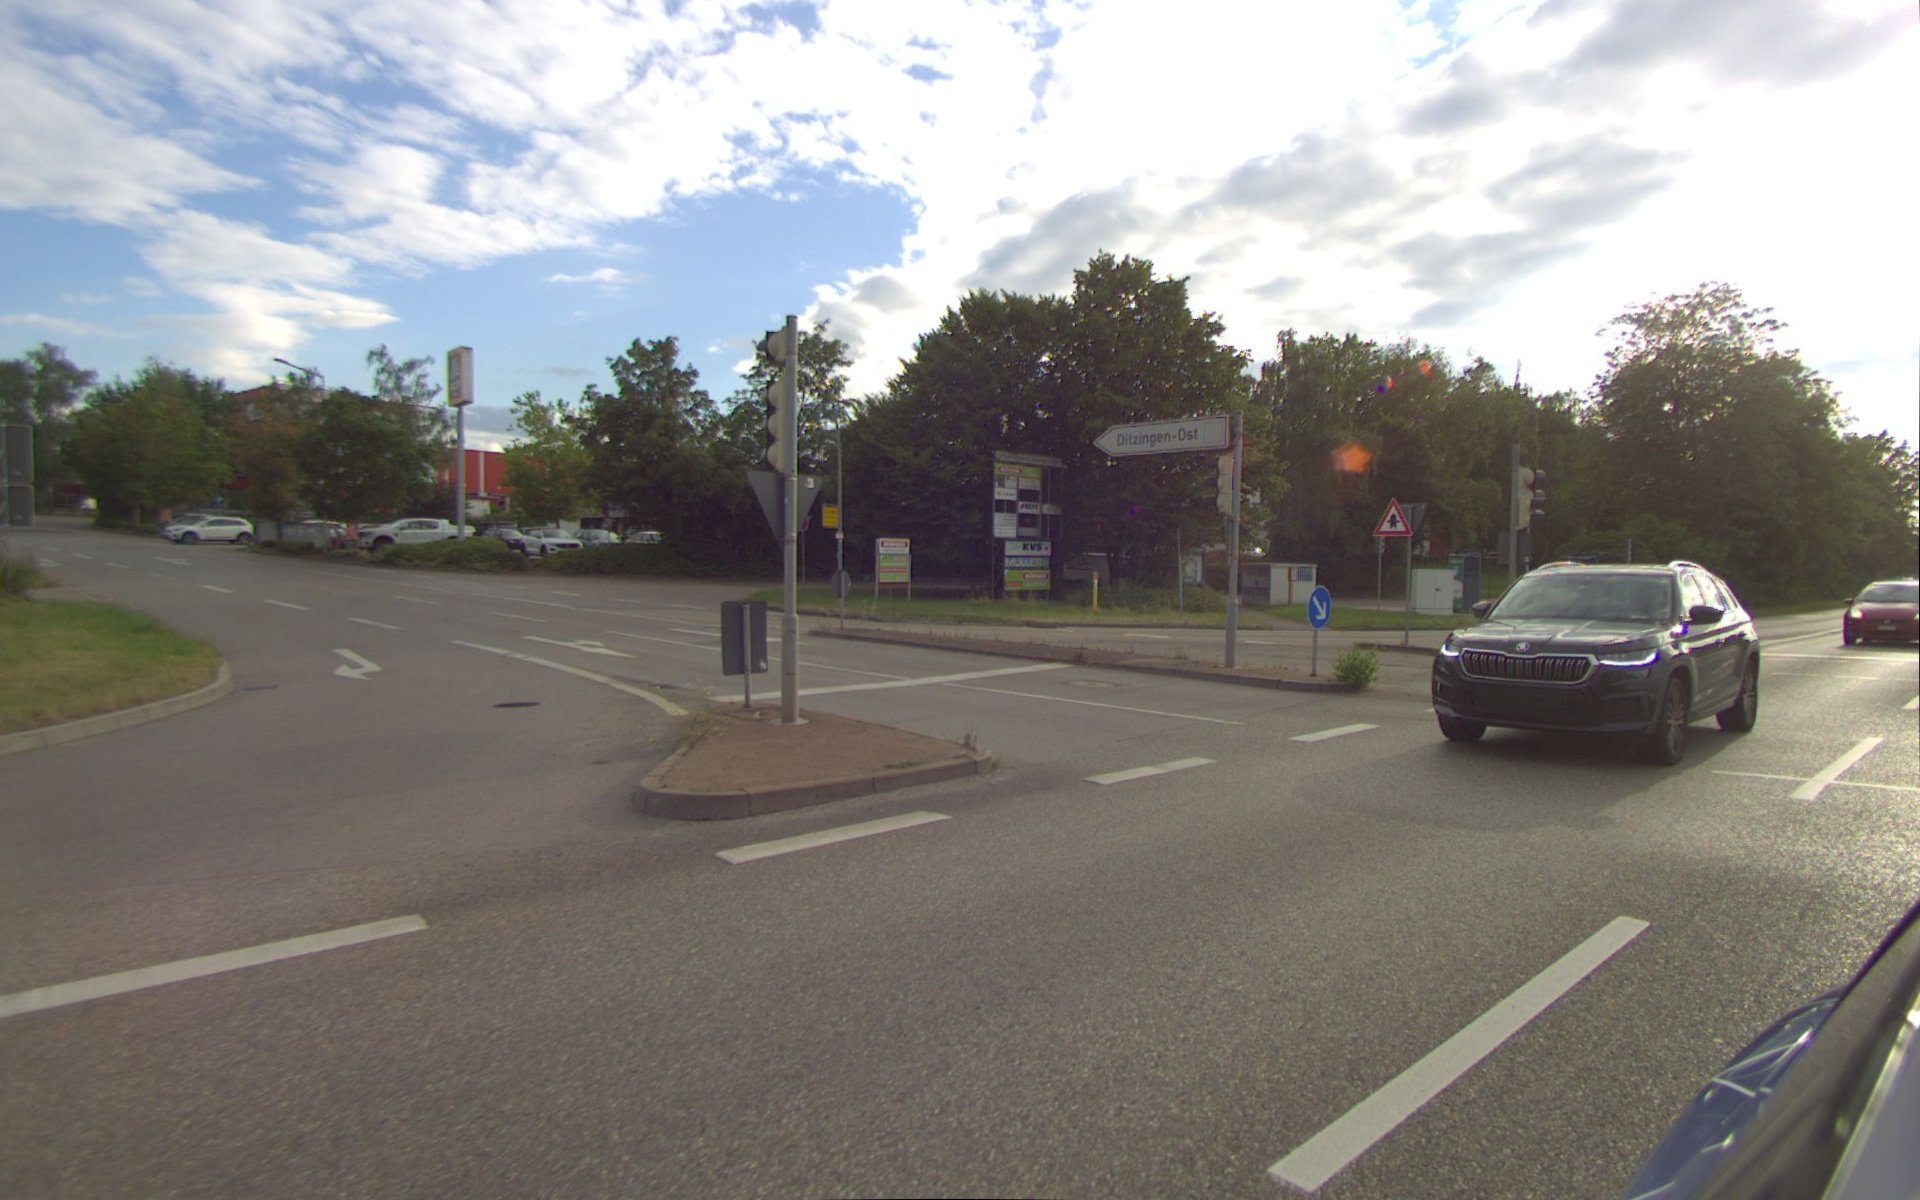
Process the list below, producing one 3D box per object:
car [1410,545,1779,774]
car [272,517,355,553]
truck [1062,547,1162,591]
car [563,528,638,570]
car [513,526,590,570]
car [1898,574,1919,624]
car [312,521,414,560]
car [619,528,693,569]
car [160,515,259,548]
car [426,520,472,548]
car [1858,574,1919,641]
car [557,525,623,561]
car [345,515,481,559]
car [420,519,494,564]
[{"bbox_3d":[6.135,0.392,9.552,4.405,1.670,1.847,-1,1,-42],"label":"car"},{"bbox_3d":[-40.377,-4.023,63.247,1.988,2.039,3.948,0,1,37],"label":"car"},{"bbox_3d":[7.293,-1.477,48.357,4.600,2.022,1.817,0,1,14],"label":"truck"},{"bbox_3d":[-17.799,-2.549,49.978,1.928,1.874,4.298,-1,5,-44],"label":"car"},{"bbox_3d":[-19.523,-2.492,48.290,1.928,1.906,4.298,-1,5,-44],"label":"car"},{"bbox_3d":[29.489,-0.065,30.363,3.933,1.433,1.698,-1,1,-43],"label":"car"},{"bbox_3d":[-31.322,-3.084,53.151,1.954,1.906,4.242,5,5,41],"label":"car"},{"bbox_3d":[-15.666,-2.647,52.007,1.928,1.906,4.298,-1,5,-44],"label":"car"},{"bbox_3d":[-42.999,-3.937,58.032,1.993,1.799,4.265,4,5,41],"label":"car"},{"bbox_3d":[-37.833,-4.882,74.884,1.928,1.847,4.298,-1,5,-44],"label":"car"},{"bbox_3d":[22.114,0.127,23.372,3.927,1.450,1.665,-1,2,-42],"label":"car"},{"bbox_3d":[-21.003,-3.238,57.393,1.928,1.847,4.298,-1,5,-44],"label":"car"},{"bbox_3d":[-26.784,-3.081,49.736,1.993,2.037,5.532,4,5,41],"label":"car"},{"bbox_3d":[-23.771,-2.787,47.770,1.928,1.906,4.298,-1,5,-44],"label":"car"}]
